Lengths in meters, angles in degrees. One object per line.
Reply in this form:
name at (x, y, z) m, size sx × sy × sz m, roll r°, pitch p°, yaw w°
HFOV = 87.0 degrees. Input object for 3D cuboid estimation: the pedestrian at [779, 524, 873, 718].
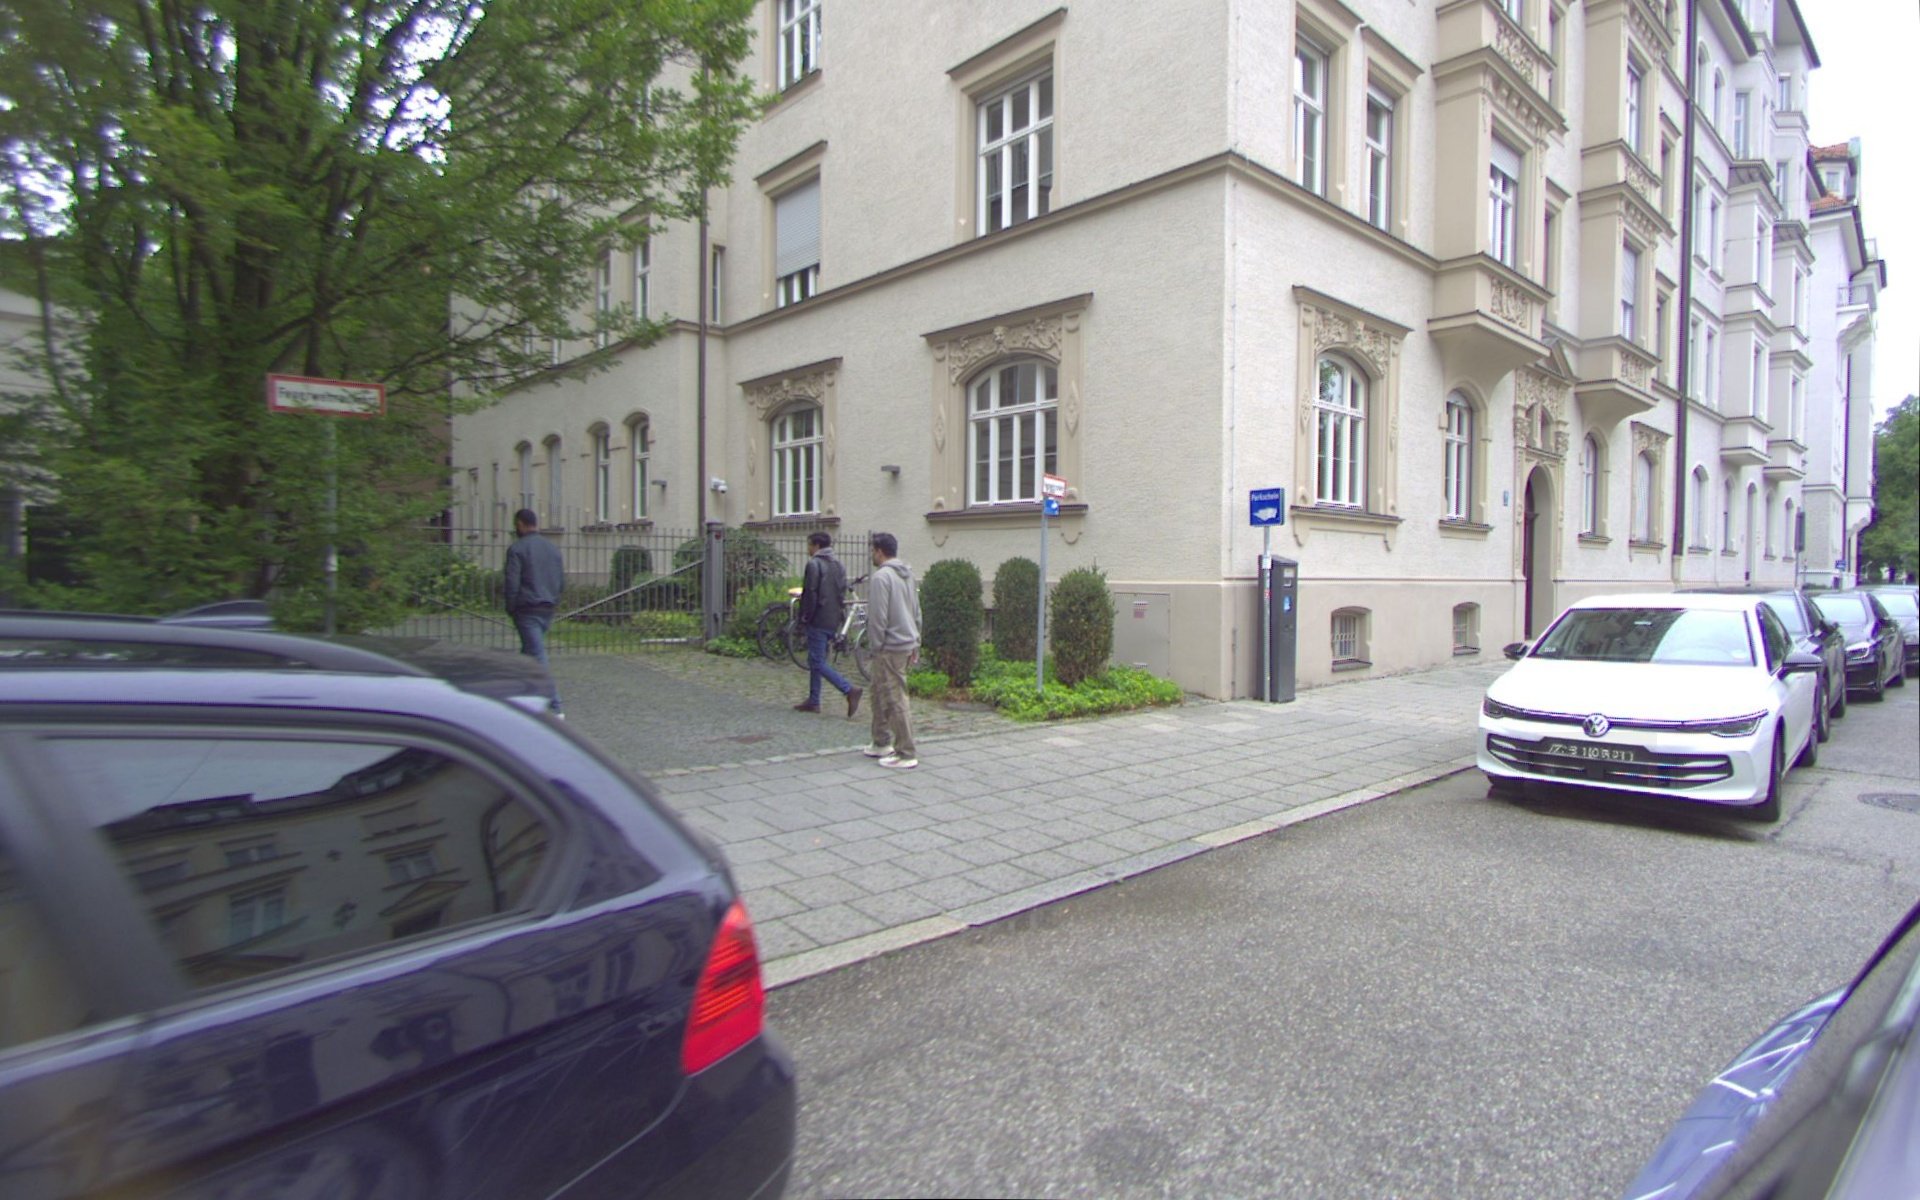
pedestrian at (-1.284, 0.182, 9.744) m, size 0.623 × 1.791 × 0.666 m, roll 1°, pitch 1°, yaw 27°

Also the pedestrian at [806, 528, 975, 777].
pedestrian at (-0.507, 0.338, 7.516) m, size 0.847 × 1.677 × 0.857 m, roll 5°, pitch 4°, yaw 32°

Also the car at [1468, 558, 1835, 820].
car at (5.553, 0.501, 7.906) m, size 1.664 × 1.526 × 3.998 m, roll 1°, pitch 1°, yaw 45°

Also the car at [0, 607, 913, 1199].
car at (-2.173, 0.772, 0.883) m, size 4.153 × 1.470 × 1.713 m, roll 0°, pitch 1°, yaw -43°

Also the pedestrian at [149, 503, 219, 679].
pedestrian at (-8.282, -0.101, 10.799) m, size 0.564 × 1.816 × 0.554 m, roll 0°, pitch 1°, yaw -41°

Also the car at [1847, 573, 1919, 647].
car at (21.200, 0.191, 22.542) m, size 3.891 × 1.535 × 1.745 m, roll -1°, pitch 2°, yaw -43°

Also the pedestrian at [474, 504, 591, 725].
pedestrian at (-3.706, 0.107, 8.753) m, size 0.661 × 1.791 × 0.883 m, roll 0°, pitch 1°, yaw -43°

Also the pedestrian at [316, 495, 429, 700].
pedestrian at (-5.573, -0.035, 9.593) m, size 0.667 × 1.840 × 0.861 m, roll 3°, pitch 1°, yaw -43°

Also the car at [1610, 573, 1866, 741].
car at (8.711, 0.527, 11.200) m, size 1.791 × 1.517 × 4.017 m, roll -2°, pitch -1°, yaw 44°

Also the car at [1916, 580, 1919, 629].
car at (31.308, 0.130, 31.853) m, size 1.711 × 1.489 × 4.020 m, roll 0°, pitch 1°, yaw 45°

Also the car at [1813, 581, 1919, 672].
car at (16.280, 0.383, 17.642) m, size 3.932 × 1.435 × 1.644 m, roll -1°, pitch 1°, yaw -42°

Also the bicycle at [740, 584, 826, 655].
bicycle at (-2.466, 0.256, 14.158) m, size 1.110 × 0.919 × 0.453 m, roll -1°, pitch 3°, yaw -41°

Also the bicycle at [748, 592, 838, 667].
bicycle at (-2.204, 0.374, 13.403) m, size 1.110 × 0.919 × 0.453 m, roll -1°, pitch 3°, yaw -41°

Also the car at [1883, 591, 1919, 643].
car at (27.768, 0.441, 28.921) m, size 3.932 × 1.408 × 1.713 m, roll -1°, pitch 1°, yaw -43°

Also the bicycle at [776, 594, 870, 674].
bicycle at (-1.716, 0.407, 12.717) m, size 1.110 × 0.919 × 0.453 m, roll -1°, pitch 3°, yaw -41°

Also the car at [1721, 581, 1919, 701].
car at (12.337, 0.483, 14.331) m, size 3.954 × 1.415 × 1.744 m, roll -2°, pitch 1°, yaw -42°

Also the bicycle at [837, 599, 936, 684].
bicycle at (-0.859, 0.466, 11.897) m, size 1.110 × 0.919 × 0.453 m, roll -1°, pitch 3°, yaw -41°
